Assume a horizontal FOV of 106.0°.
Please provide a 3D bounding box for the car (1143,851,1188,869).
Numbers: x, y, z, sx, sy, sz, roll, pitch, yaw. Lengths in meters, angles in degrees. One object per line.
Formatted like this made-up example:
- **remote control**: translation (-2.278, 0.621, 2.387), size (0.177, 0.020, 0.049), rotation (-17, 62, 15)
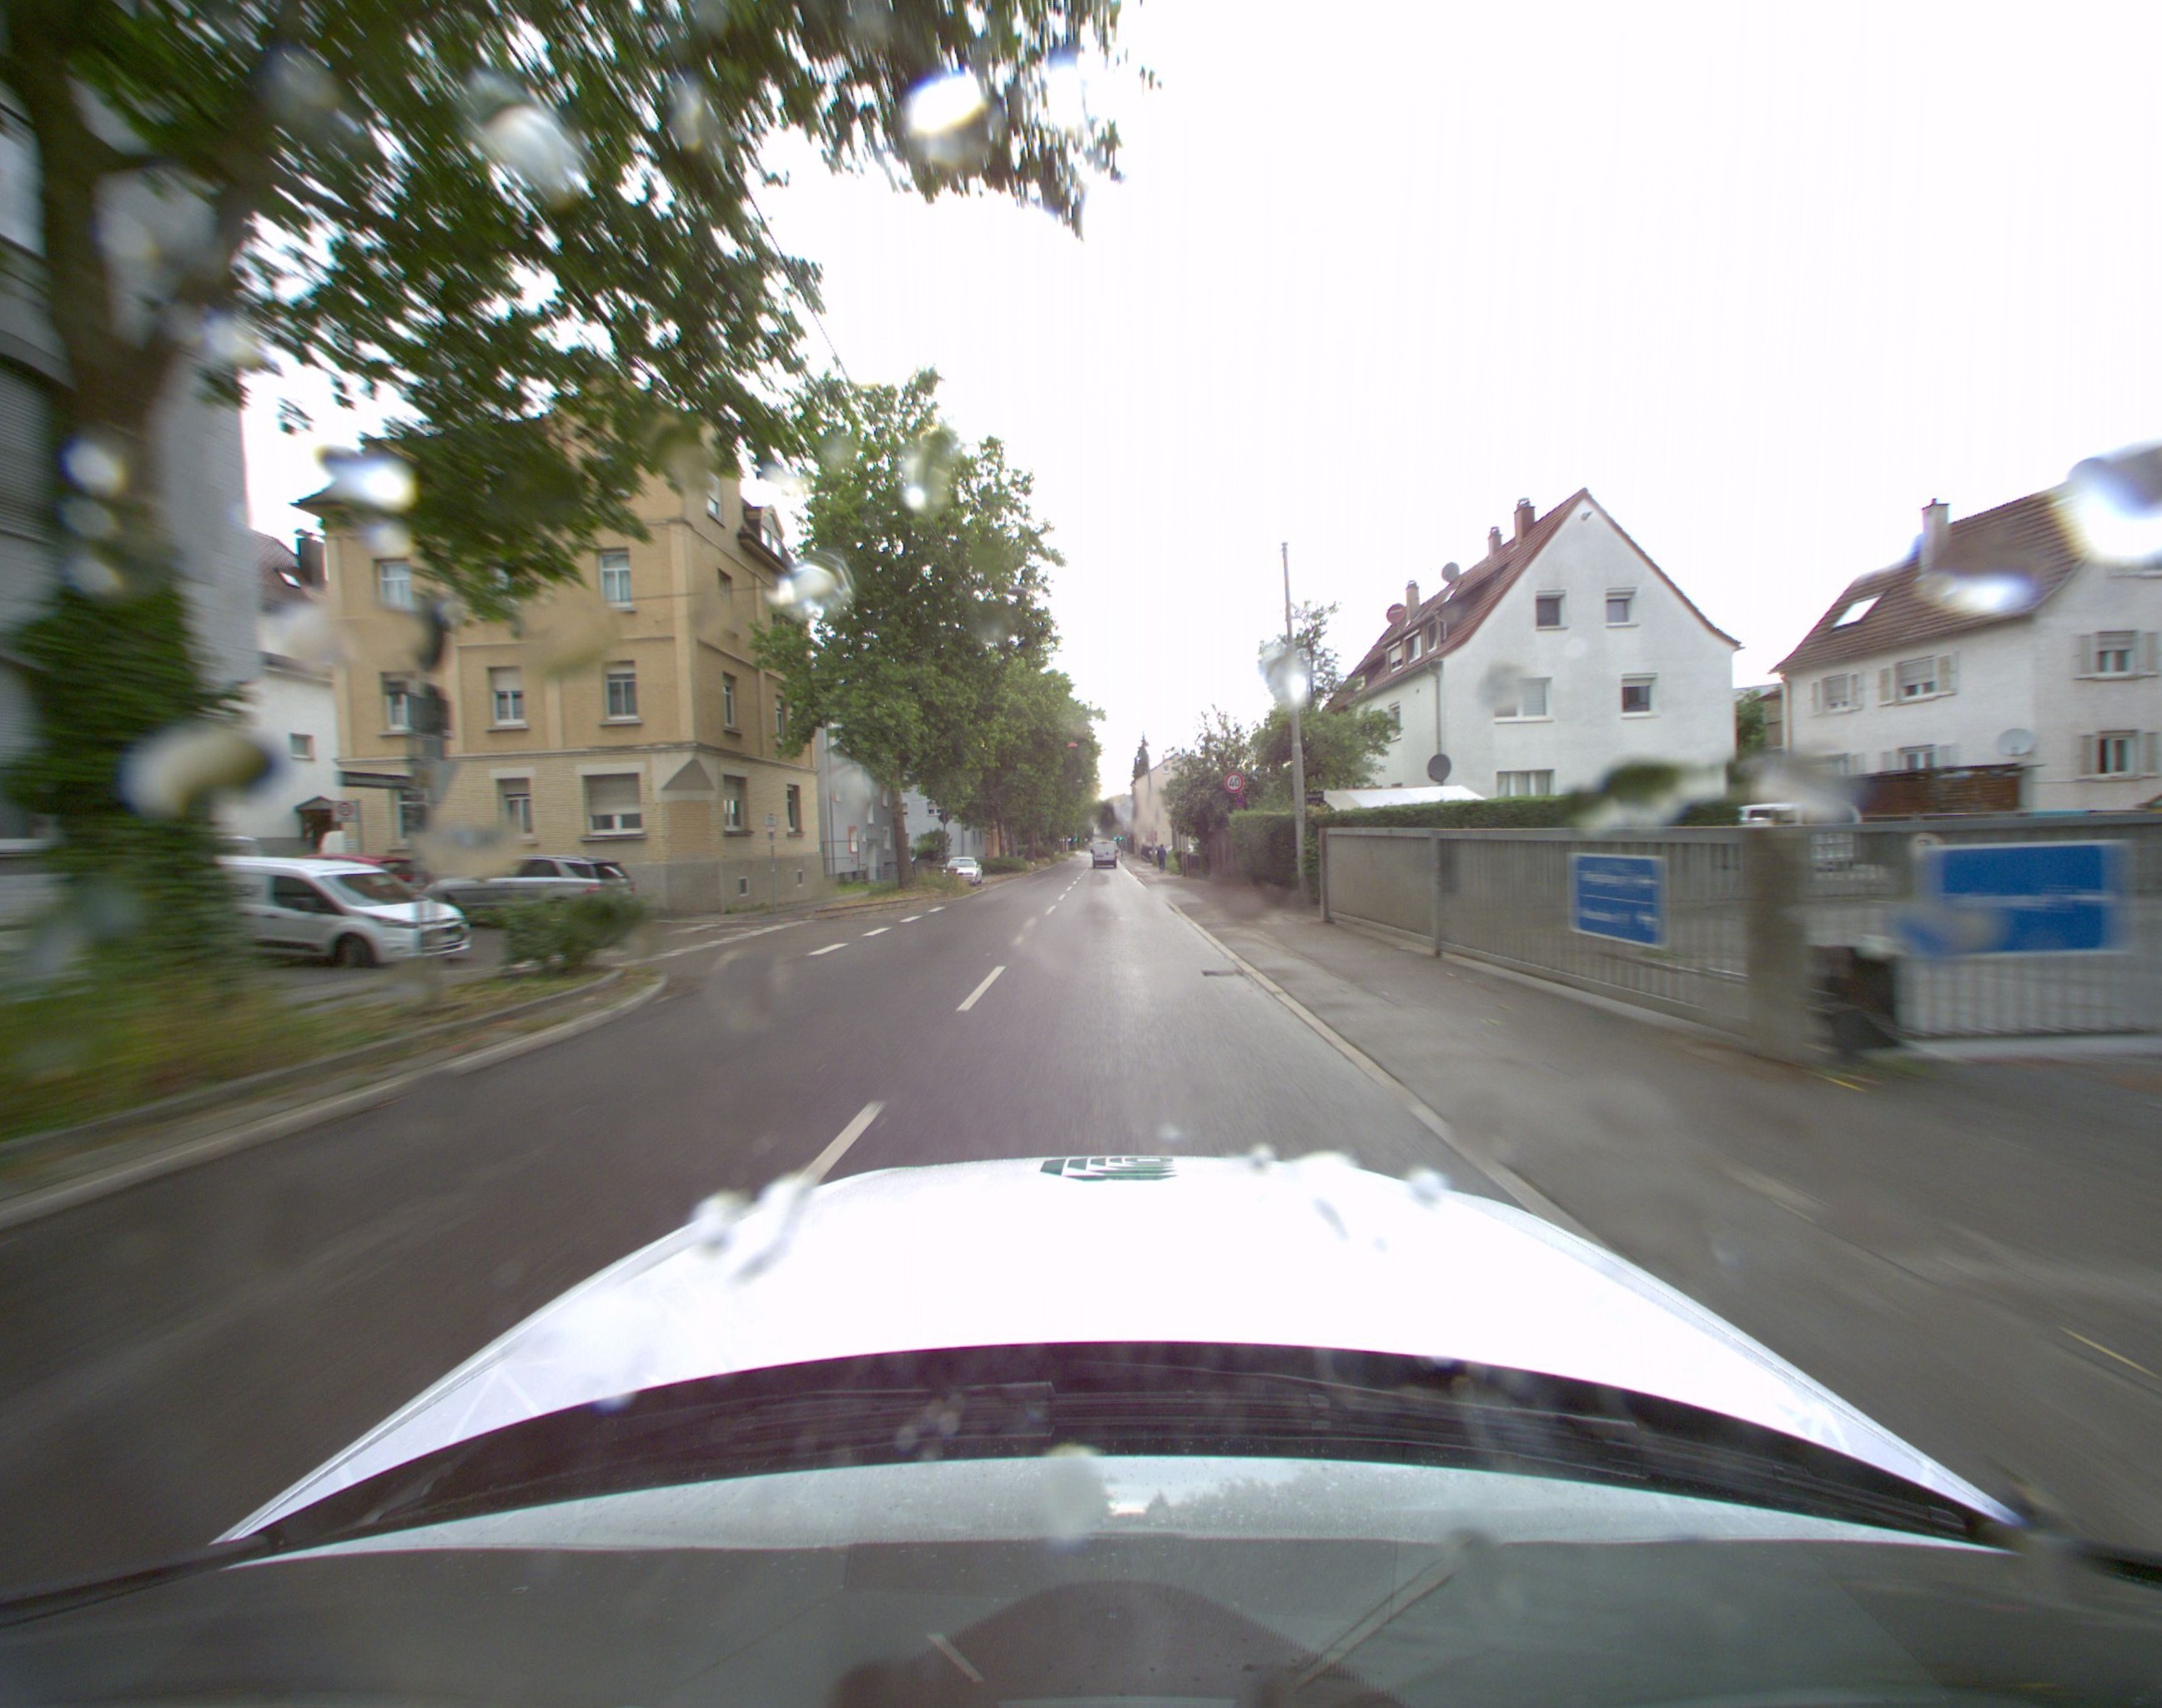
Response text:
- **car**: translation (8.417, 0.613, 80.972), size (4.287, 1.768, 2.000), rotation (-1, -1, 1)

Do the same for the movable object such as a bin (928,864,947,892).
- **movable object such as a bin**: translation (-5.793, 0.962, 32.906), size (0.532, 1.057, 0.762), rotation (-3, -1, 1)

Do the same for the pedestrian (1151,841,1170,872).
- **pedestrian**: translation (4.929, 0.168, 50.270), size (1.039, 1.897, 0.901), rotation (-2, -1, 1)

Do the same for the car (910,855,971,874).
- **car**: translation (-11.470, 0.842, 66.669), size (4.646, 1.476, 1.870), rotation (0, -1, 1)

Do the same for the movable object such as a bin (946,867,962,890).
- **movable object such as a bin**: translation (-5.145, 0.989, 33.064), size (0.510, 0.927, 0.581), rotation (-3, -1, 1)

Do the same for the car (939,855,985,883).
- **car**: translation (-5.993, 0.725, 41.393), size (1.751, 1.326, 4.536), rotation (-1, 0, -2)

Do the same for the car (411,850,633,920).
- **car**: translation (-13.841, 0.744, 20.392), size (4.103, 1.611, 2.042), rotation (0, -1, -1)

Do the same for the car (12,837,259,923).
- **car**: translation (-23.734, 0.626, 20.562), size (4.017, 1.933, 1.806), rotation (2, -1, 0)

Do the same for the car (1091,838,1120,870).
- **car**: translation (2.082, -0.005, 69.368), size (2.274, 2.552, 4.001), rotation (-2, -1, 2)

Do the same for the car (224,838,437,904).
- **car**: translation (-18.880, 0.409, 20.602), size (3.810, 1.517, 1.642), rotation (1, 0, 0)

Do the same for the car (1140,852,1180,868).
- **car**: translation (8.353, 0.637, 86.070), size (4.052, 1.736, 1.870), rotation (0, -1, 1)

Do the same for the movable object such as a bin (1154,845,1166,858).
- **movable object such as a bin**: translation (9.678, -0.312, 99.590), size (1.230, 1.509, 1.111), rotation (-4, -1, 0)

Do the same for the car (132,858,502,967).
- **car**: translation (-13.342, 0.966, 14.463), size (4.654, 1.778, 2.021), rotation (0, 0, 1)
